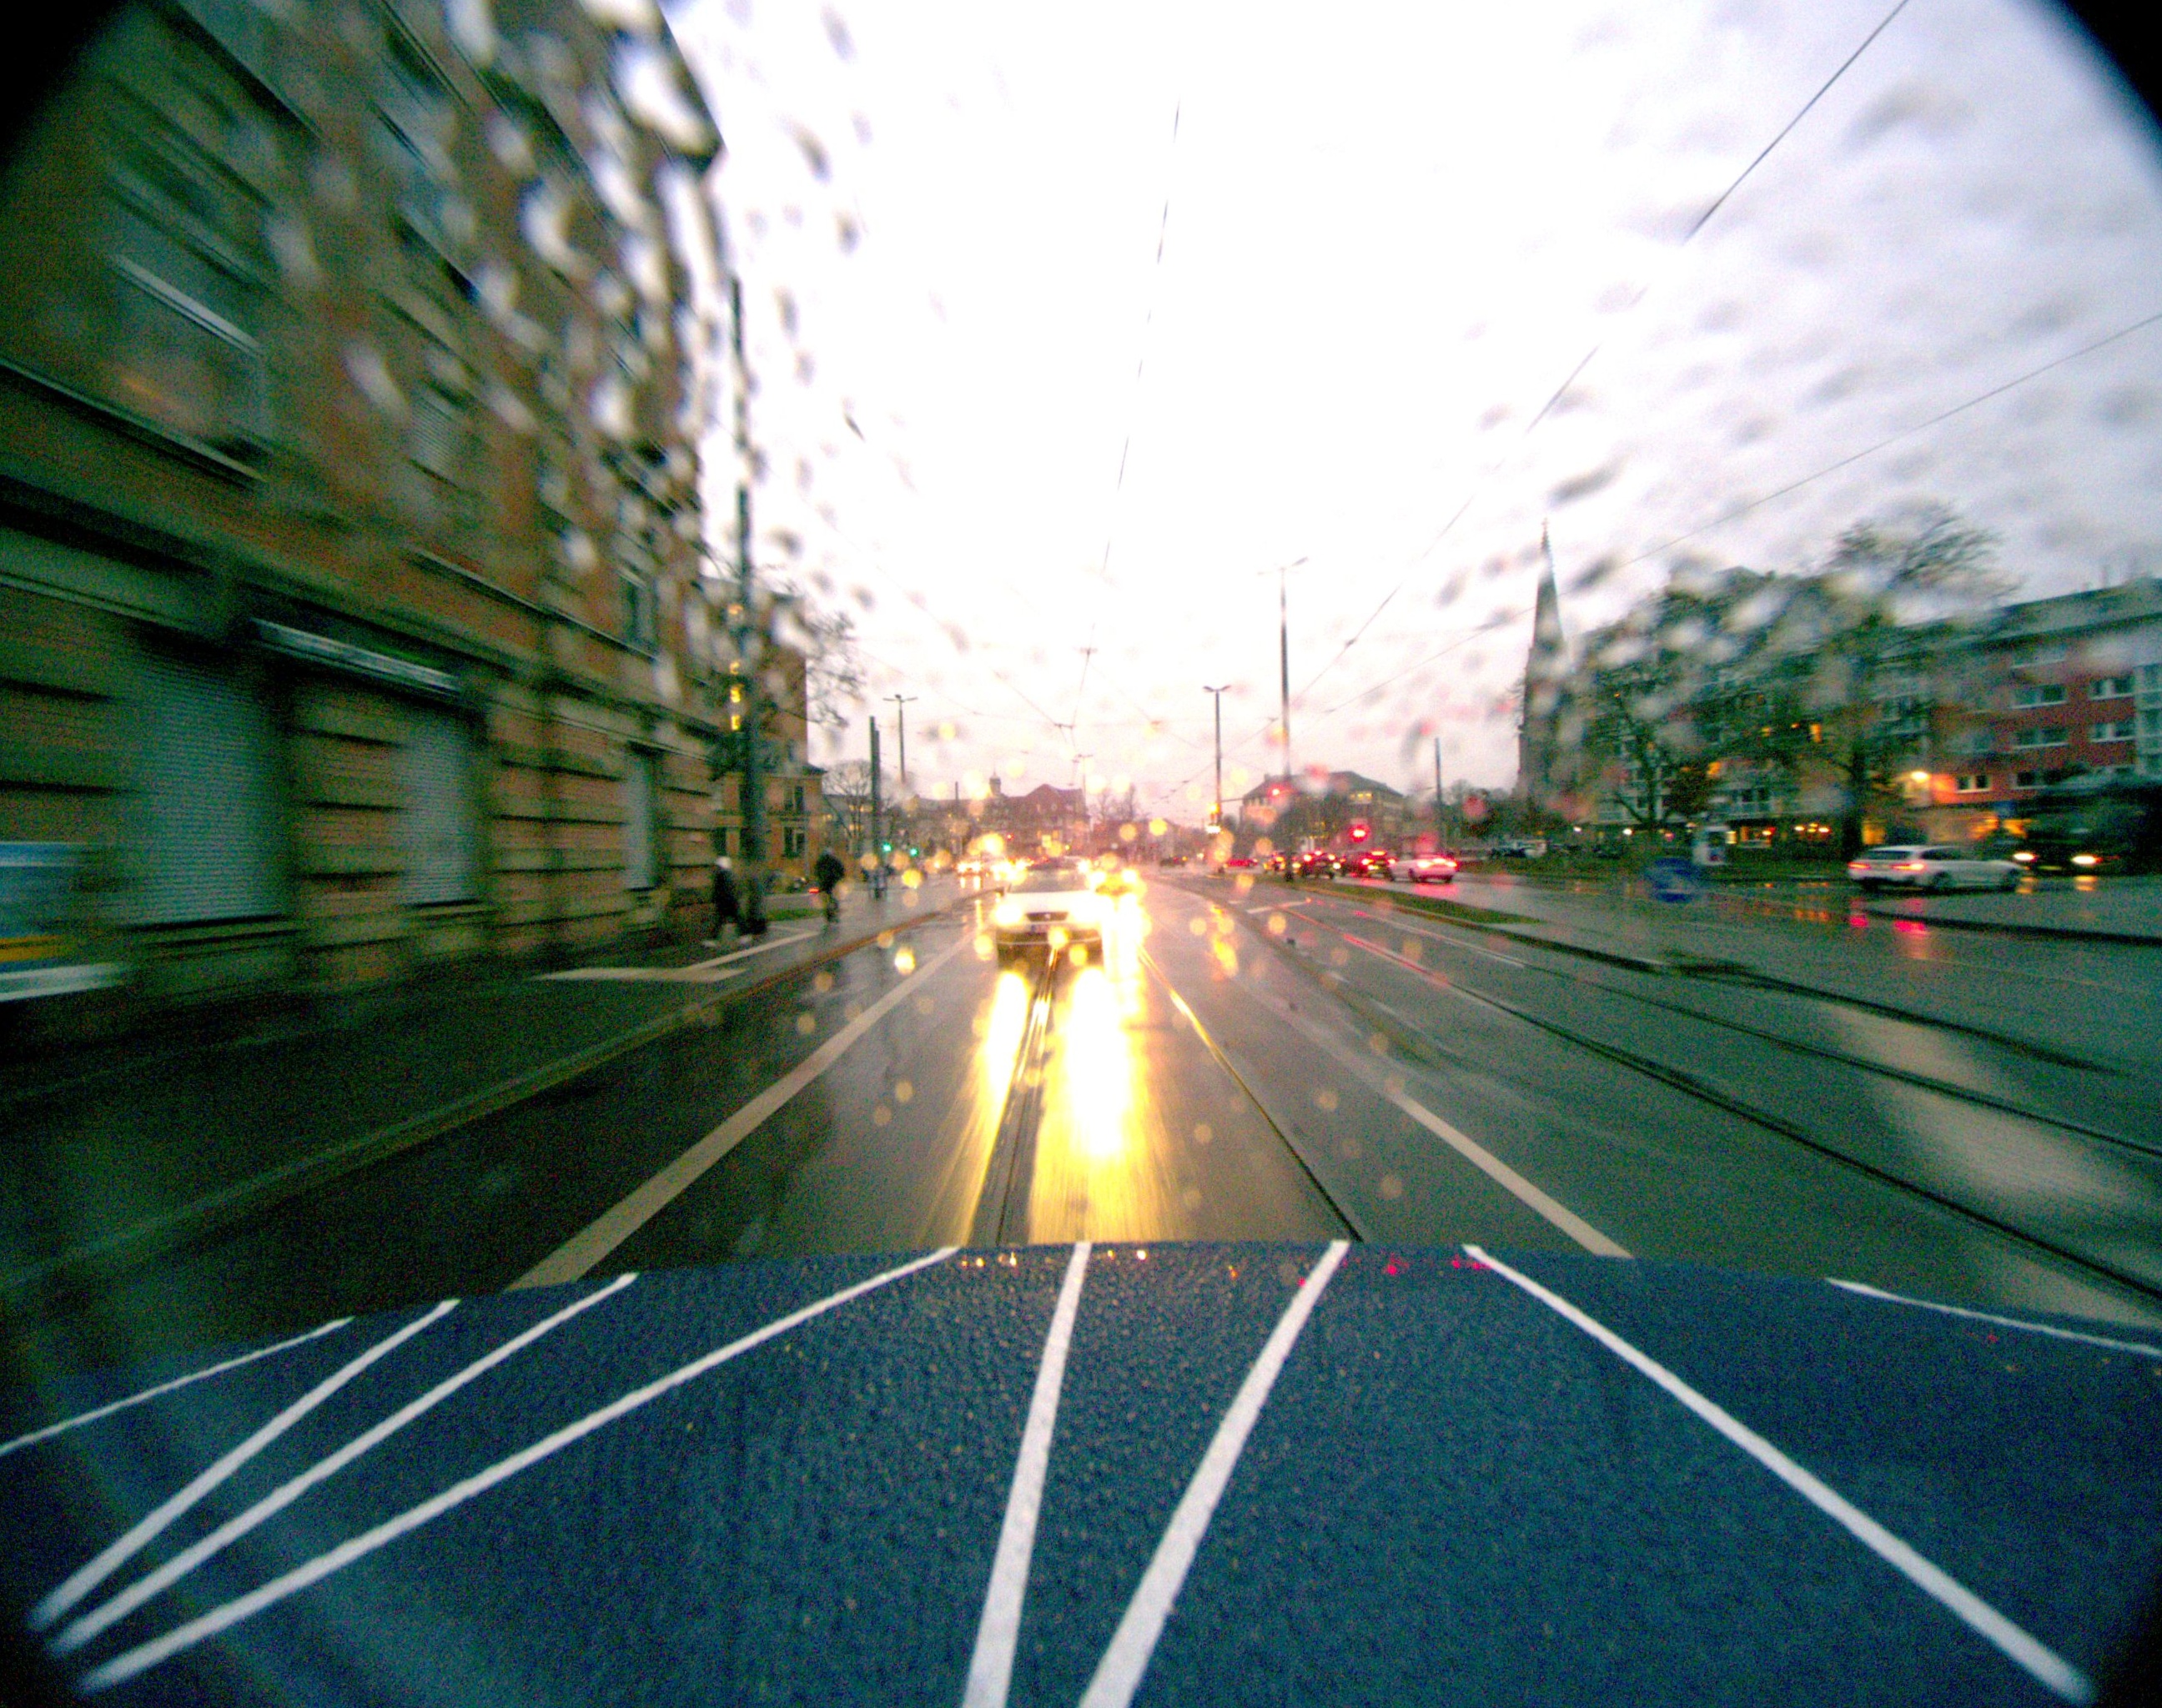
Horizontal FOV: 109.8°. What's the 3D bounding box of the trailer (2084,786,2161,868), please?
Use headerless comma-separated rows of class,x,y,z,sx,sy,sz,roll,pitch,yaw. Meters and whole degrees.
trailer,52.088,-1.414,33.671,15.058,3.398,2.634,-2,1,-10

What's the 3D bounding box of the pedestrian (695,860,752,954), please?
pedestrian,-6.130,0.888,13.061,0.633,1.539,0.710,-2,1,-4

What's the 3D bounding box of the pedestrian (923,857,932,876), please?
pedestrian,-14.942,1.214,74.018,0.651,1.811,0.637,-2,1,-34

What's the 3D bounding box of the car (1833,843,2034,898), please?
car,26.735,0.480,23.889,4.811,1.489,1.998,-2,1,-10

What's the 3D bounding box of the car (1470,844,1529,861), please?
car,36.160,-0.101,65.679,2.003,1.302,3.989,-3,1,-37

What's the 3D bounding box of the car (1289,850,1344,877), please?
car,12.649,0.473,41.012,1.876,1.382,4.000,0,1,2

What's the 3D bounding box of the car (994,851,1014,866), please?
car,-9.713,0.557,95.635,2.020,1.809,3.684,-2,1,-13

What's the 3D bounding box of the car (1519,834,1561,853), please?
car,53.630,-1.258,88.853,3.990,2.002,2.003,-2,1,25

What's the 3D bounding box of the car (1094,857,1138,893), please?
car,1.527,0.894,34.087,1.797,1.415,4.000,-2,0,1

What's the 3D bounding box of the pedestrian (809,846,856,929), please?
pedestrian,-5.661,0.746,17.318,0.753,1.814,0.710,-2,1,2

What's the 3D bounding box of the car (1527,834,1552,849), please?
car,60.286,-1.633,99.888,1.820,1.783,4.576,-1,1,43

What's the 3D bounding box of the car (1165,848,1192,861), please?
car,12.343,0.040,96.271,2.001,1.543,3.995,-2,1,-15

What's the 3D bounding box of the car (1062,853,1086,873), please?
car,-0.628,0.763,66.800,1.824,1.565,3.998,-2,0,-3

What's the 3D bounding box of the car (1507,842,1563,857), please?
car,42.396,-0.407,71.007,2.003,1.302,3.989,-3,1,-37

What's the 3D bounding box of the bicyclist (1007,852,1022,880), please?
bicyclist,-3.674,0.643,41.910,0.727,1.525,0.785,-2,1,-1

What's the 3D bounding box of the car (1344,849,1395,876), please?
car,15.974,0.426,42.251,1.604,1.410,3.471,-2,0,2

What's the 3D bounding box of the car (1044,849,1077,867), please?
car,-2.512,0.484,91.721,2.002,2.002,5.542,-3,1,-24

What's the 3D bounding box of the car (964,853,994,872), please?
car,-10.486,0.872,78.620,1.998,1.827,4.872,-2,0,5

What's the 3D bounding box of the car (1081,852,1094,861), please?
car,1.052,0.419,124.785,1.999,1.434,4.481,-2,0,-2

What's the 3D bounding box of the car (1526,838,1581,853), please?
car,45.628,-0.803,73.440,2.003,1.302,3.989,-3,1,-37

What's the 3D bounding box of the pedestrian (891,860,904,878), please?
pedestrian,-17.256,1.400,71.425,0.881,1.610,0.747,-2,1,-34

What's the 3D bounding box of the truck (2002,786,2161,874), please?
truck,43.436,-1.059,32.177,6.757,3.398,2.655,-2,1,-10

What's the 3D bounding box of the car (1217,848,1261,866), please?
car,15.643,0.281,75.487,4.091,1.521,2.001,-2,1,6

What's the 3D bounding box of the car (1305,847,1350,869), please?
car,16.192,0.249,50.097,1.728,1.350,4.000,-2,0,1

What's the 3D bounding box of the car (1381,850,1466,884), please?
car,15.852,0.578,35.459,1.998,1.413,4.588,-2,0,2

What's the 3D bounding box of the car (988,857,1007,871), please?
car,-9.599,1.157,87.013,1.829,1.499,3.801,-2,0,-10

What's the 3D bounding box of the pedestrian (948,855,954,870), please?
pedestrian,-16.101,1.071,94.180,0.638,1.752,0.510,-2,1,-13

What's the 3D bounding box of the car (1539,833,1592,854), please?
car,48.248,-1.041,75.671,2.003,2.002,3.989,-3,1,-37

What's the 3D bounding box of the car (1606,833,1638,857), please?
car,50.157,-0.841,70.408,1.994,2.002,4.007,-1,1,41

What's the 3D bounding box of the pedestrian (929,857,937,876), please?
pedestrian,-14.327,1.209,73.465,0.511,1.752,0.637,-2,1,-34

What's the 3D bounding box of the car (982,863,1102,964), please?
car,-0.555,0.941,13.660,1.797,1.415,4.000,-2,0,1

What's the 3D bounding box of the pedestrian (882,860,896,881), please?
pedestrian,-15.017,1.302,59.404,0.821,1.610,0.747,-2,1,-33

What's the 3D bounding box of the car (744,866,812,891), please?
car,-19.855,1.570,49.779,3.755,1.394,1.614,-4,2,-40

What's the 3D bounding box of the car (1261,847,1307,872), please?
car,12.806,0.299,48.135,1.904,1.477,4.000,-2,0,1

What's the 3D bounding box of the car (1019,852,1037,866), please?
car,-7.792,0.675,111.241,1.826,1.922,3.994,-2,1,-16

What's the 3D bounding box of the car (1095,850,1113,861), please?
car,3.579,0.245,119.313,2.000,1.688,4.479,-2,0,-7

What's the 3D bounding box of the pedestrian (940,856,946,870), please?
pedestrian,-17.025,1.110,93.944,0.638,1.752,0.510,-2,1,-13

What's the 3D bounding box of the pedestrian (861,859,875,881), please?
pedestrian,-16.949,1.288,60.444,0.818,1.667,0.749,-2,1,10

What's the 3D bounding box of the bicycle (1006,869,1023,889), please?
bicycle,-3.651,1.355,41.939,0.725,0.985,2.211,-2,0,-1

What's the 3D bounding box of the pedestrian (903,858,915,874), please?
pedestrian,-17.311,1.230,76.502,0.881,1.610,0.747,-2,1,-34

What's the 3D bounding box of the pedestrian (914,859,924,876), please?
pedestrian,-15.796,1.299,74.026,0.710,1.610,0.747,-2,1,-34

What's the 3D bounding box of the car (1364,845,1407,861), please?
car,32.467,-0.107,81.086,2.002,1.554,3.993,-3,1,-20
